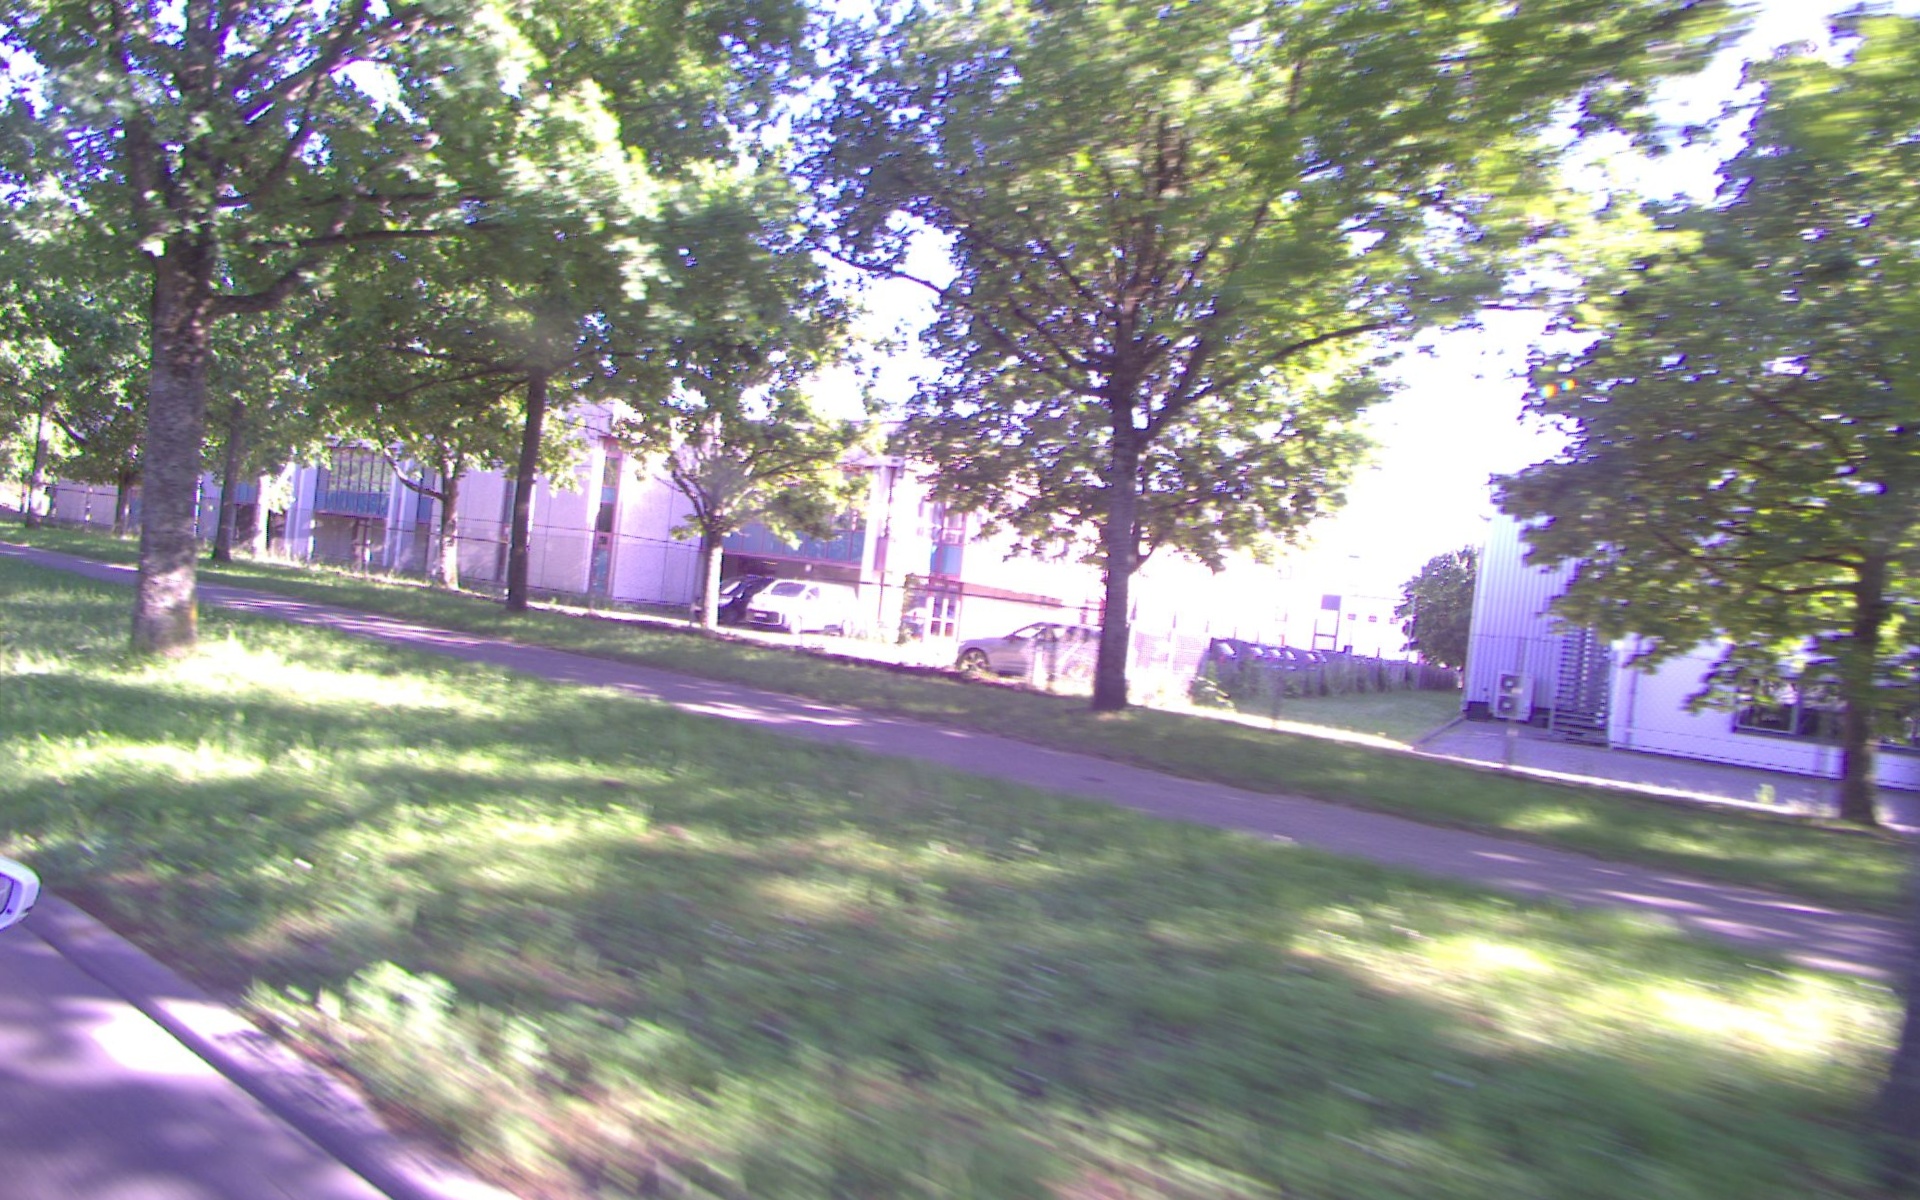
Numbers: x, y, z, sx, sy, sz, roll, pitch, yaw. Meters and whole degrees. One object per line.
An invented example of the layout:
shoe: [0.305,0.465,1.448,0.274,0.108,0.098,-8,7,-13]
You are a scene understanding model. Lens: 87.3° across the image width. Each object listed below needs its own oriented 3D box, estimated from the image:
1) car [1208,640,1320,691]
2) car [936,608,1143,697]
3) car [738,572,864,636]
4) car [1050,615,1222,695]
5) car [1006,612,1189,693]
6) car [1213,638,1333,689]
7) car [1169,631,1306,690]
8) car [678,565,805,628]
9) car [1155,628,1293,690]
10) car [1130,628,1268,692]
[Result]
car: [13.403,2.884,44.513,4.279,1.692,1.738,6,-2,36]
car: [1.970,1.286,25.234,4.635,1.626,1.997,6,0,29]
car: [-5.711,0.209,36.935,1.861,1.984,5.073,7,0,26]
car: [5.087,1.584,29.199,4.379,1.694,1.997,7,0,29]
car: [3.723,1.406,27.307,4.379,1.578,1.997,7,0,29]
car: [14.495,2.914,46.738,4.879,1.692,1.738,6,-2,37]
car: [11.085,2.404,40.347,4.890,1.692,1.740,6,-2,33]
car: [-8.243,-0.063,38.455,1.964,1.907,4.959,7,0,26]
car: [9.957,2.215,38.132,4.646,1.692,1.703,6,-2,36]
car: [8.547,2.127,36.124,4.387,1.675,1.696,6,-2,36]
